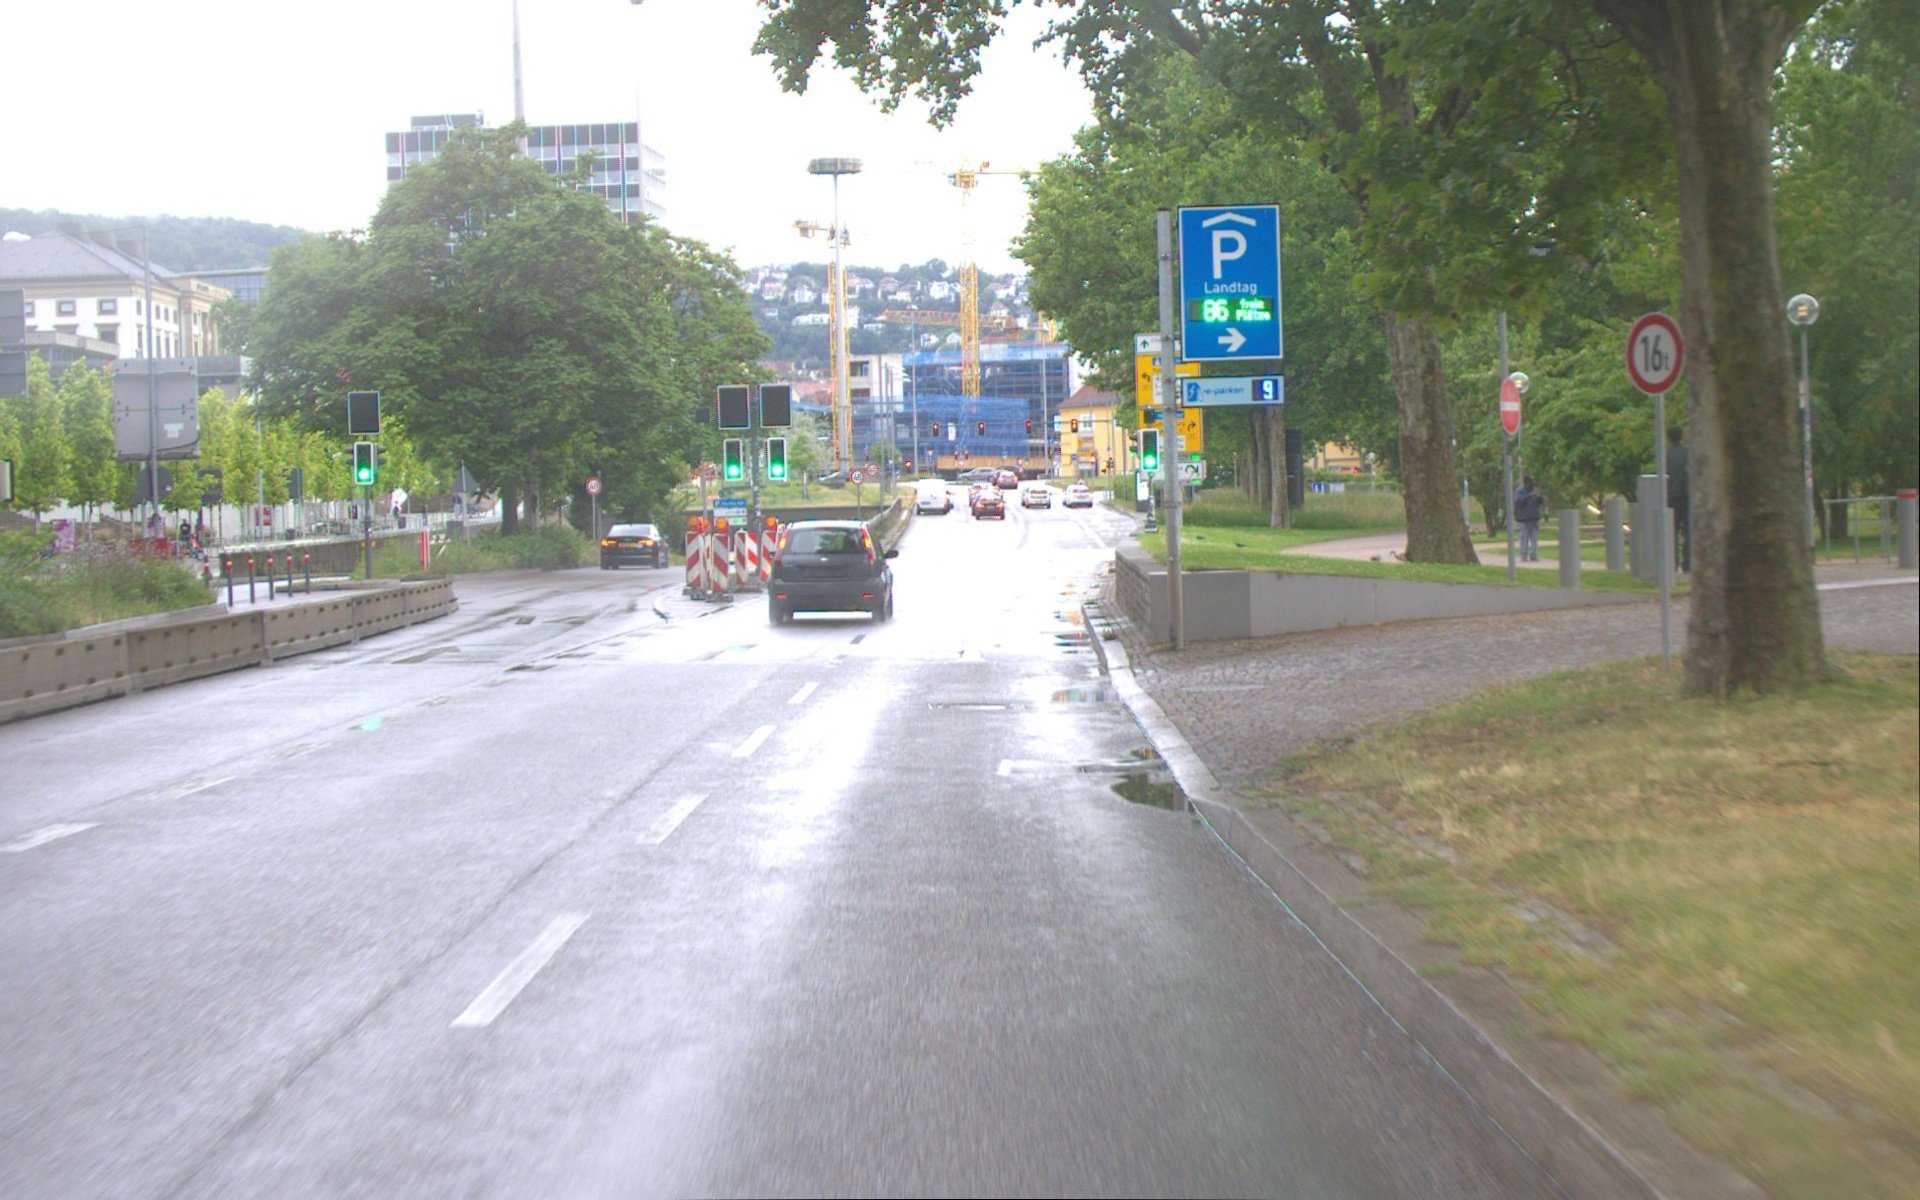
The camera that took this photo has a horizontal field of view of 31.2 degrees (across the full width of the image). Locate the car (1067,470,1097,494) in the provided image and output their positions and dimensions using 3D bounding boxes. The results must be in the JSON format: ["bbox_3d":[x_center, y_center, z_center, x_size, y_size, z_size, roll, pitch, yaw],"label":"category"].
[{"bbox_3d":[8.815,-8.507,247.636,1.994,1.594,4.000,-3,1,3],"label":"car"}]

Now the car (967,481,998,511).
[{"bbox_3d":[1.415,-6.482,215.068,1.739,1.765,4.000,-3,1,2],"label":"car"}]

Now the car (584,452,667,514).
[{"bbox_3d":[-10.151,-3.570,104.557,1.993,1.774,4.000,-2,2,1],"label":"car"}]

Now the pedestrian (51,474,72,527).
[{"bbox_3d":[-34.625,-3.833,132.468,0.539,2.006,0.531,-4,2,-34],"label":"pedestrian"}]

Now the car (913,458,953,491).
[{"bbox_3d":[-1.765,-8.369,229.030,2.220,2.006,4.000,1,5,6],"label":"car"}]

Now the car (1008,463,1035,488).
[{"bbox_3d":[4.491,-9.064,250.847,1.713,1.684,3.849,-3,1,3],"label":"car"}]

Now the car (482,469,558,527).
[{"bbox_3d":[-13.026,-3.034,101.922,1.993,1.626,4.001,-1,2,-4],"label":"car"}]

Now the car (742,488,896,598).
[{"bbox_3d":[-2.051,-0.811,49.033,1.843,1.411,3.840,-3,1,-6],"label":"car"}]

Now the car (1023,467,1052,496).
[{"bbox_3d":[5.505,-8.488,245.245,1.987,2.006,4.000,-1,2,1],"label":"car"}]

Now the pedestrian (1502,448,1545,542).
[{"bbox_3d":[10.663,-1.990,65.041,0.594,1.749,0.725,-3,3,-2],"label":"pedestrian"}]

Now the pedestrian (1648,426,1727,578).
[{"bbox_3d":[8.429,-1.135,39.851,0.705,1.712,0.692,-3,2,1],"label":"pedestrian"}]
